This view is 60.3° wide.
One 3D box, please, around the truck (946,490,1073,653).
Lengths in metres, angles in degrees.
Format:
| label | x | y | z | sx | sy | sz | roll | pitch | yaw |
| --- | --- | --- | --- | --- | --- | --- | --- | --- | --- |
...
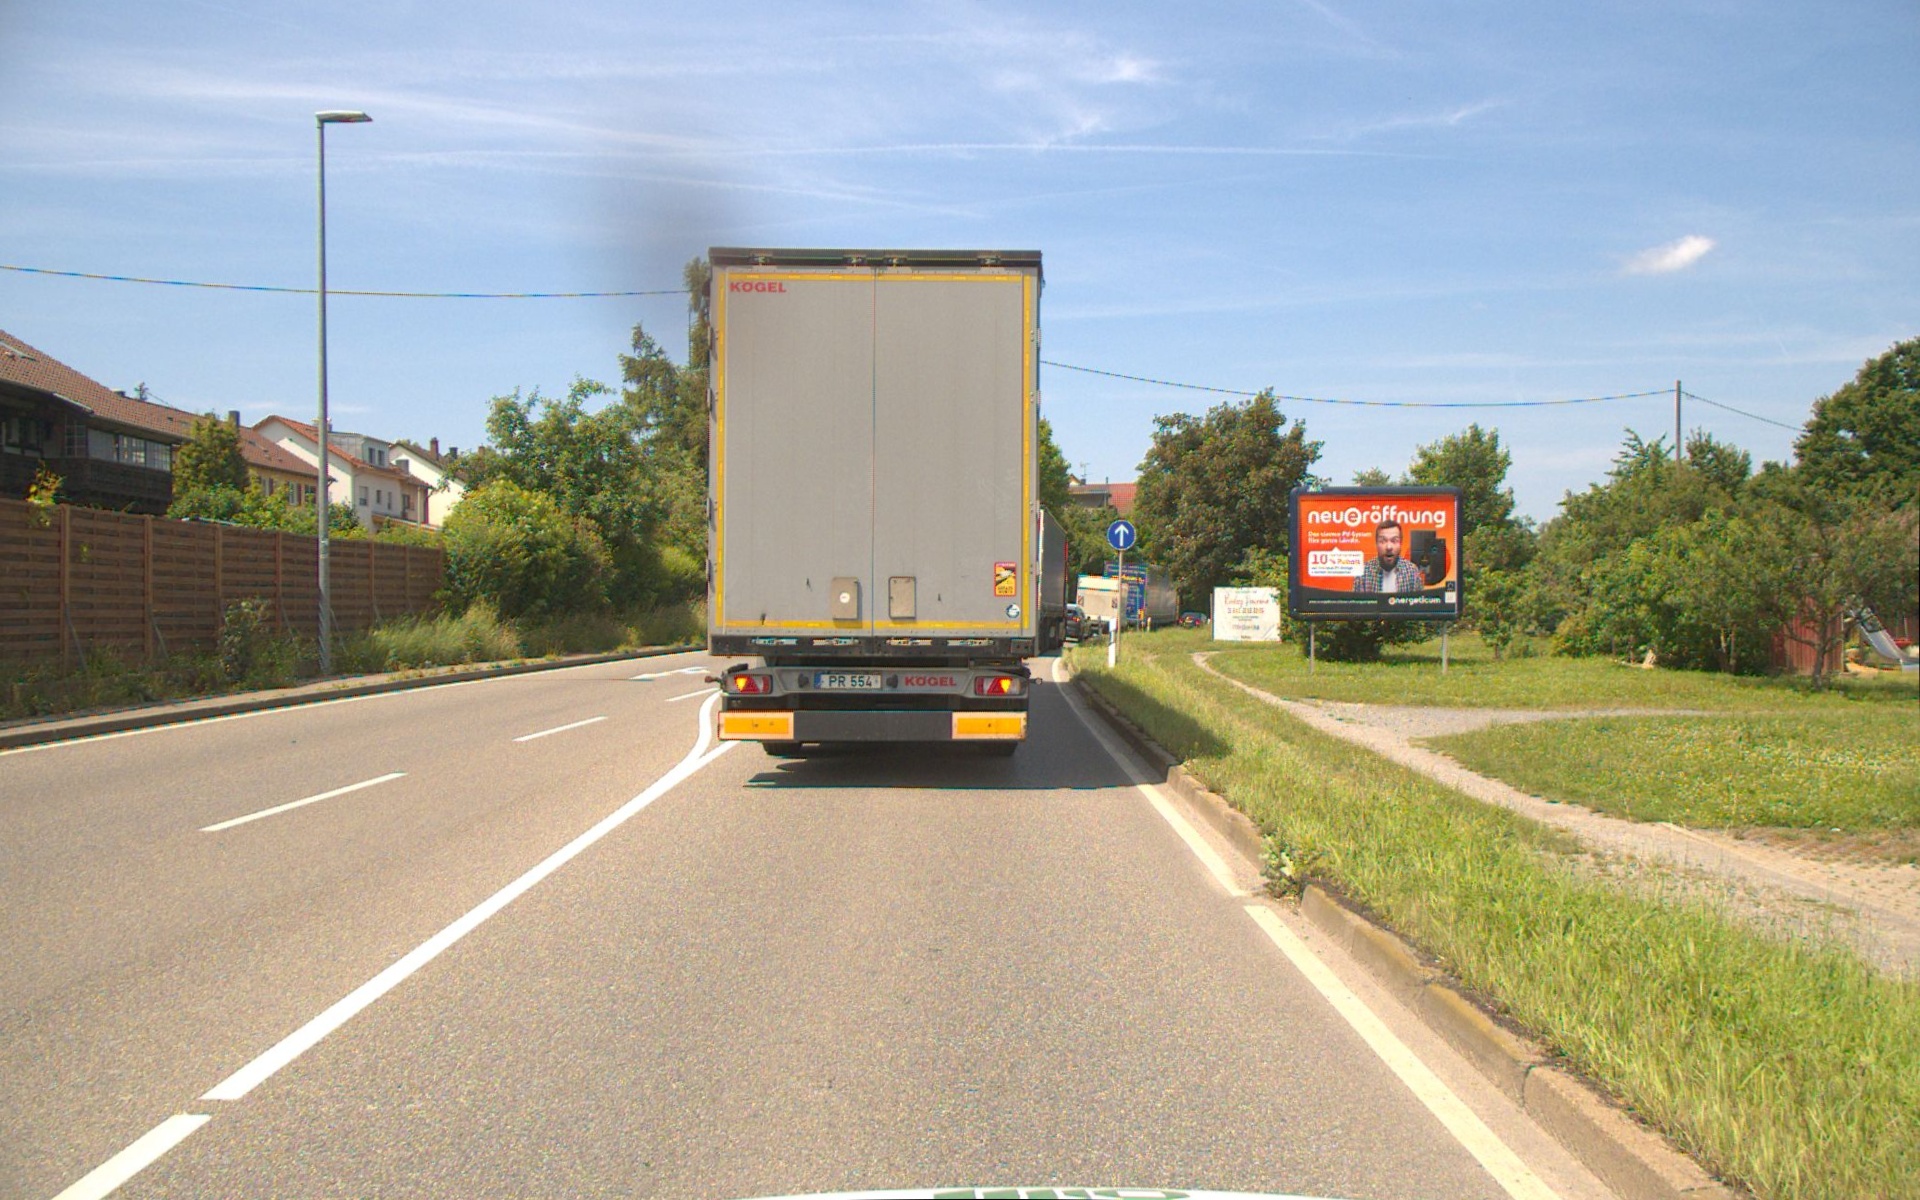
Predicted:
| label | x | y | z | sx | sy | sz | roll | pitch | yaw |
| --- | --- | --- | --- | --- | --- | --- | --- | --- | --- |
| truck | 1.890 | -0.690 | 52.836 | 2.702 | 4.364 | 16.426 | 1 | -1 | 6 |

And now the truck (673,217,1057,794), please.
| label | x | y | z | sx | sy | sz | roll | pitch | yaw |
| --- | --- | --- | --- | --- | --- | --- | --- | --- | --- |
| truck | -0.676 | -0.740 | 17.919 | 2.764 | 4.200 | 11.444 | 1 | 0 | 0 |

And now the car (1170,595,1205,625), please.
| label | x | y | z | sx | sy | sz | roll | pitch | yaw |
| --- | --- | --- | --- | --- | --- | --- | --- | --- | --- |
| car | 16.157 | 0.731 | 117.414 | 1.951 | 2.049 | 4.003 | 1 | -1 | 14 |

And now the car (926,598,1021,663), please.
| label | x | y | z | sx | sy | sz | roll | pitch | yaw |
| --- | --- | --- | --- | --- | --- | --- | --- | --- | --- |
| car | 0.363 | 0.685 | 37.859 | 1.780 | 1.370 | 3.850 | 1 | -1 | 6 |

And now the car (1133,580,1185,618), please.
| label | x | y | z | sx | sy | sz | roll | pitch | yaw |
| --- | --- | --- | --- | --- | --- | --- | --- | --- | --- |
| car | 12.735 | -0.052 | 105.560 | 2.478 | 2.317 | 6.386 | 1 | 0 | 14 |

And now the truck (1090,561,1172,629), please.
| label | x | y | z | sx | sy | sz | roll | pitch | yaw |
| --- | --- | --- | --- | --- | --- | --- | --- | --- | --- |
| truck | 9.919 | -0.305 | 95.118 | 3.360 | 3.667 | 9.361 | 1 | 1 | 14 |

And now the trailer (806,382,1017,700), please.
| label | x | y | z | sx | sy | sz | roll | pitch | yaw |
| --- | --- | --- | --- | --- | --- | --- | --- | --- | --- |
| trailer | -0.633 | -0.807 | 25.183 | 2.767 | 4.182 | 6.544 | 1 | 0 | 0 |

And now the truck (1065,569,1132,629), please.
| label | x | y | z | sx | sy | sz | roll | pitch | yaw |
| --- | --- | --- | --- | --- | --- | --- | --- | --- | --- |
| truck | 7.047 | -0.015 | 83.694 | 2.489 | 2.852 | 6.036 | 1 | -1 | 13 |

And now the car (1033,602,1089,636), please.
| label | x | y | z | sx | sy | sz | roll | pitch | yaw |
| --- | --- | --- | --- | --- | --- | --- | --- | --- | --- |
| car | 4.451 | 0.820 | 72.509 | 1.951 | 1.400 | 4.003 | 1 | -1 | 11 |
